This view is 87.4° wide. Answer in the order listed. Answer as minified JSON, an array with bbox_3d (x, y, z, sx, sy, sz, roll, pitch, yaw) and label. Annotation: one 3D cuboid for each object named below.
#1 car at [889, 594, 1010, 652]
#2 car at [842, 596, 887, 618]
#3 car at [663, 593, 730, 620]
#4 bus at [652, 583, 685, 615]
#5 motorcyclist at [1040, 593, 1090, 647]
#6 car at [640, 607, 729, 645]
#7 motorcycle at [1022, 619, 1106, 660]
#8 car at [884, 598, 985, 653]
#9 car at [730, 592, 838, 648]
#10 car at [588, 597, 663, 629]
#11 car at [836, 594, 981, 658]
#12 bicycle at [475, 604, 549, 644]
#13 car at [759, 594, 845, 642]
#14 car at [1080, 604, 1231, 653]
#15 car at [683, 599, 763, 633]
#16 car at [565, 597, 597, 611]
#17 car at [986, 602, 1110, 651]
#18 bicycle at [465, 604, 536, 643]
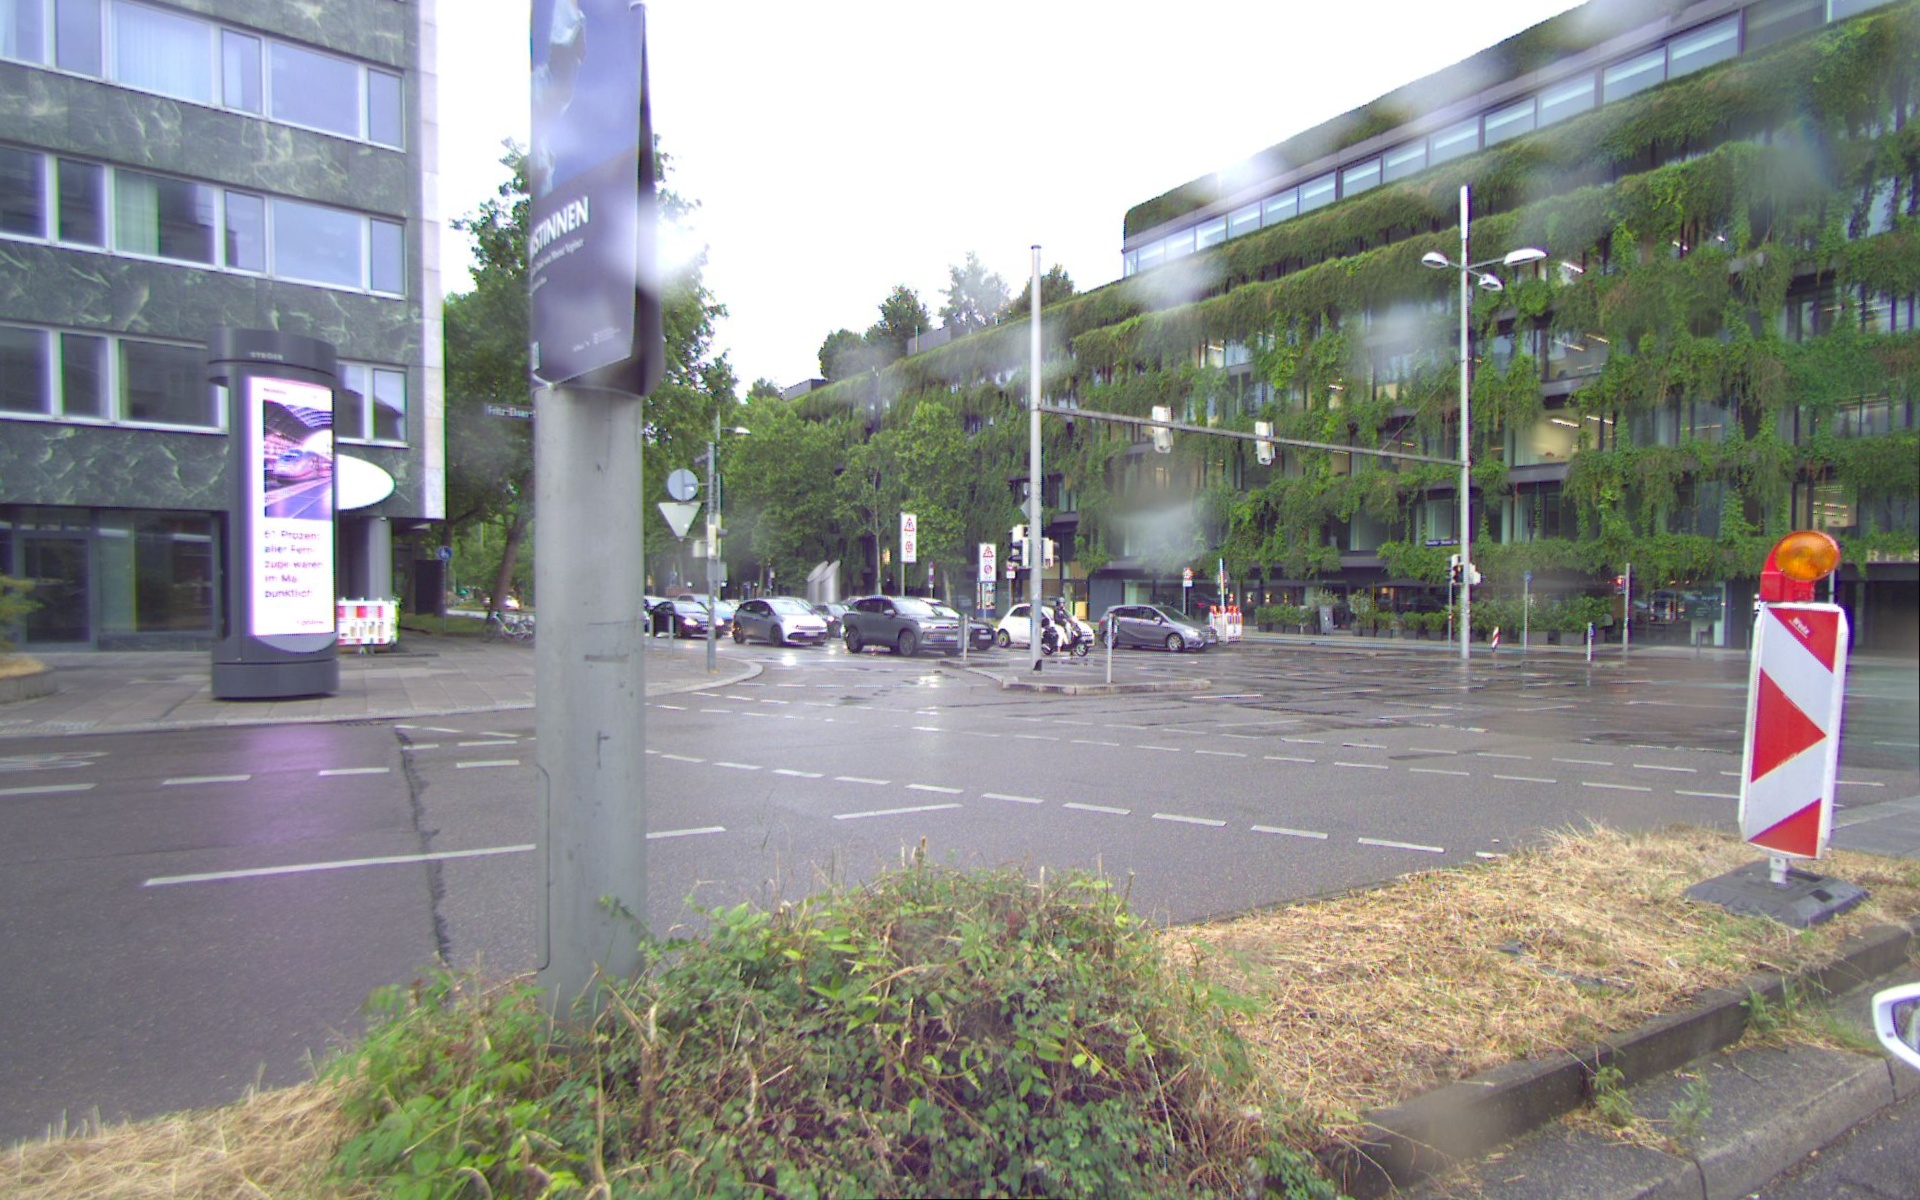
[{"bbox_3d":[-0.400,0.705,32.540,1.981,1.773,3.958,1,0,-37],"label":"car"},{"bbox_3d":[-7.374,0.494,77.237,1.783,1.588,3.962,2,0,-34],"label":"car"},{"bbox_3d":[-13.936,0.334,52.915,1.982,1.389,4.131,1,0,-37],"label":"car"},{"bbox_3d":[-32.028,-0.148,110.224,1.783,3.385,5.922,2,0,-34],"label":"bus"},{"bbox_3d":[3.031,0.575,29.066,1.153,1.492,0.832,2,0,40],"label":"motorcyclist"},{"bbox_3d":[-10.908,0.999,39.615,1.982,1.389,4.131,1,0,-37],"label":"car"},{"bbox_3d":[3.000,1.121,29.084,2.331,1.068,0.830,2,0,41],"label":"motorcycle"},{"bbox_3d":[-1.017,0.910,37.755,1.978,1.923,4.139,1,0,-33],"label":"car"},{"bbox_3d":[-6.024,0.639,34.026,1.982,1.773,3.956,1,0,-38],"label":"car"},{"bbox_3d":[-15.042,0.561,45.026,1.982,1.389,4.131,1,0,-37],"label":"car"},{"bbox_3d":[-1.562,0.697,29.092,1.984,1.709,4.314,1,0,-41],"label":"car"},{"bbox_3d":[-12.328,0.671,27.661,1.765,1.066,0.581,1,0,-35],"label":"bicycle"},{"bbox_3d":[-6.299,0.673,39.661,1.841,1.791,4.139,1,0,-32],"label":"car"},{"bbox_3d":[6.612,0.933,34.401,4.842,1.508,1.922,1,0,45],"label":"car"},{"bbox_3d":[-10.682,0.694,45.013,1.982,1.389,4.131,1,0,-37],"label":"car"},{"bbox_3d":[-44.718,0.458,118.494,1.919,1.508,4.849,1,0,-41],"label":"car"},{"bbox_3d":[2.866,0.854,33.457,1.981,1.495,3.958,1,0,-37],"label":"car"},{"bbox_3d":[-12.983,0.655,28.402,1.765,1.066,0.581,1,0,-35],"label":"bicycle"}]
